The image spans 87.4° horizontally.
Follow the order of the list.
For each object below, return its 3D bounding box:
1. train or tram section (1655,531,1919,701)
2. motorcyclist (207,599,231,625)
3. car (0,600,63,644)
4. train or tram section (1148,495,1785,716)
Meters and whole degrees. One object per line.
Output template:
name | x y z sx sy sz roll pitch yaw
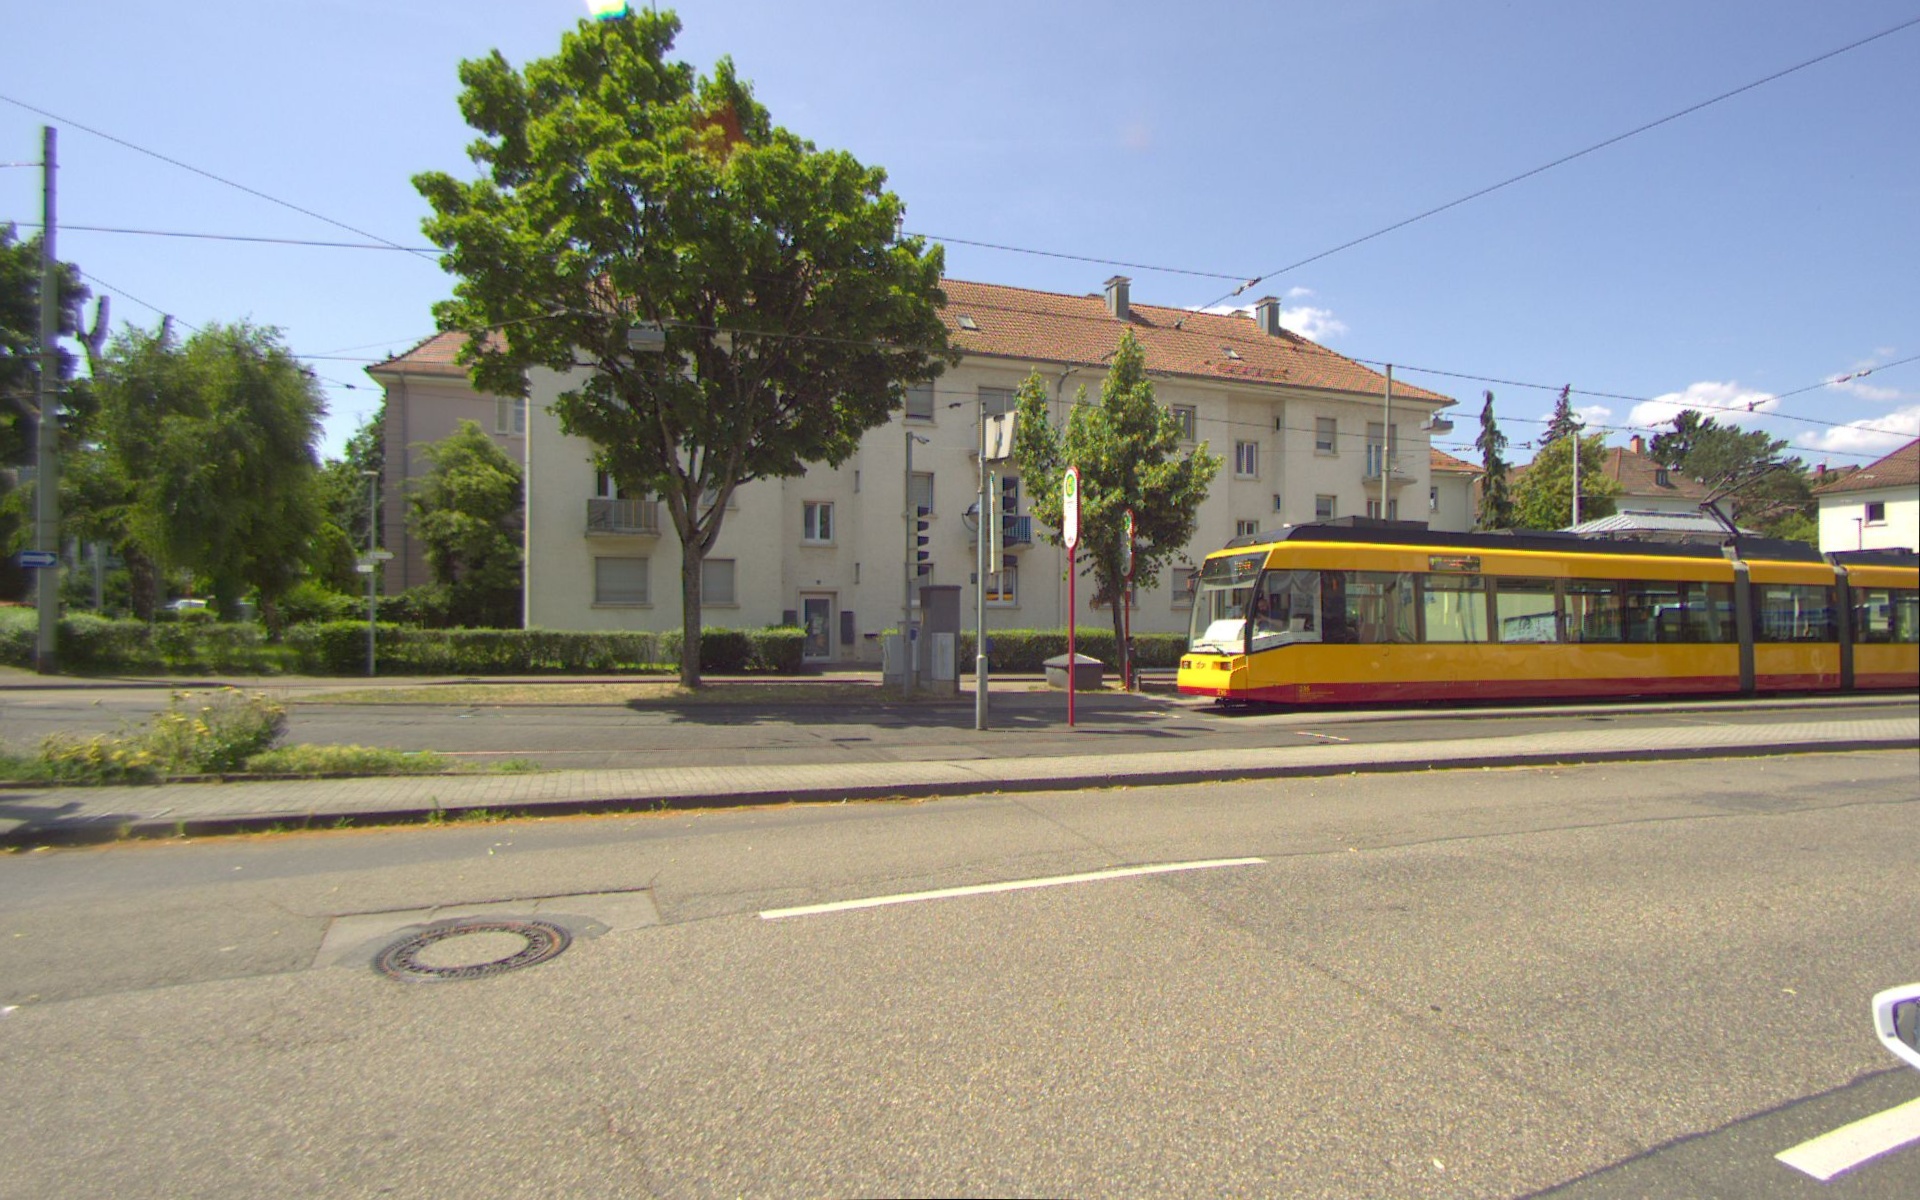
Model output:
train or tram section | 23.861 0.491 25.304 14.484 3.616 2.781 1 -1 -21
motorcyclist | -42.338 0.687 57.415 0.701 1.465 1.017 1 -1 -12
car | -36.473 0.809 38.367 1.776 1.578 4.021 2 -1 -18
train or tram section | 10.589 0.238 20.240 13.967 3.616 2.805 1 -1 -21
